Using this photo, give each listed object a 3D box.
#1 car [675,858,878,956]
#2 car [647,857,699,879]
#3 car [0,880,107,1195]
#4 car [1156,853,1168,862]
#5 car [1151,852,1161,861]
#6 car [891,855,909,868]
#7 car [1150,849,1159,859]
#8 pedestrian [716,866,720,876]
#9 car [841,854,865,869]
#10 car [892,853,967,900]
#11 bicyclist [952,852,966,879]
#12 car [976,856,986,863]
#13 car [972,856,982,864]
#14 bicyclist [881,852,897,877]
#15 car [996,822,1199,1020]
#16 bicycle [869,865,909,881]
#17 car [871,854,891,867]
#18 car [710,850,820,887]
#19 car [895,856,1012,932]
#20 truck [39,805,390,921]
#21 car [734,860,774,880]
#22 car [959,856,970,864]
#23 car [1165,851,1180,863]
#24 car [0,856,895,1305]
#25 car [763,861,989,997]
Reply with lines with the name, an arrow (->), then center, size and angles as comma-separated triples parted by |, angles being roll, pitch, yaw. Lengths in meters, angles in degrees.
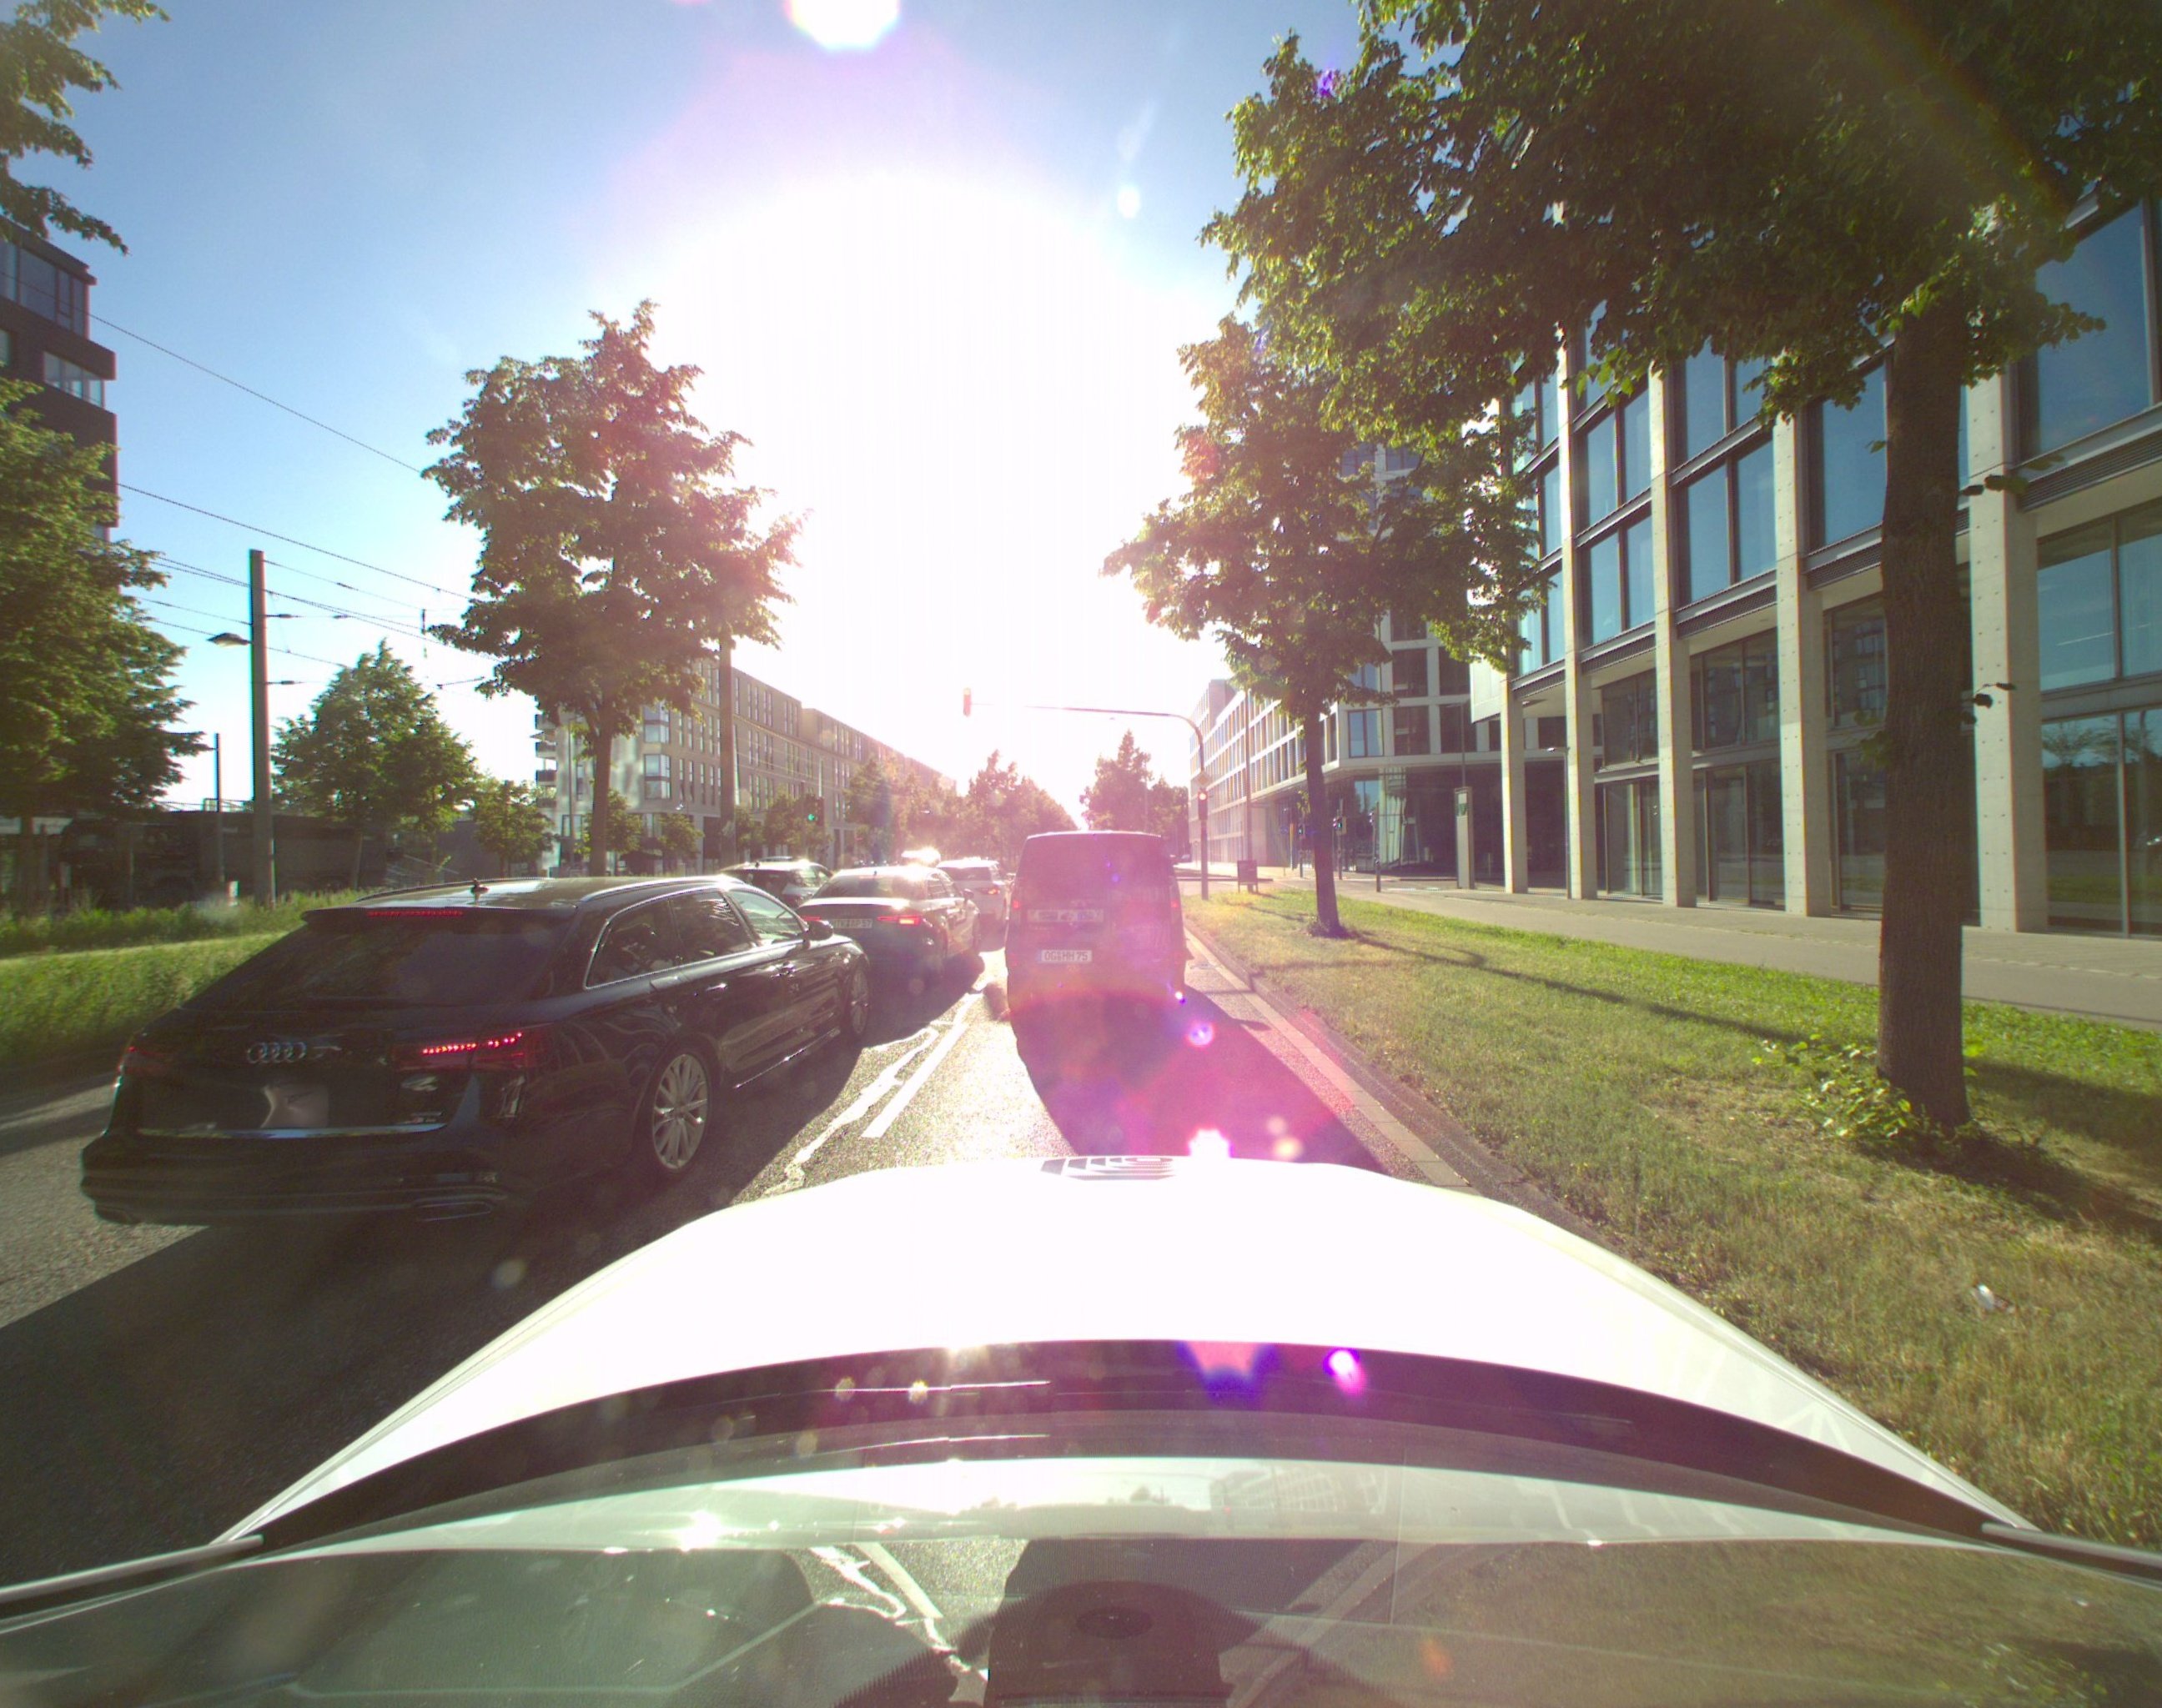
car -> -5.259, 0.832, 14.827 | 1.792, 1.447, 4.571 | -1, 0, 2
car -> -31.045, 1.038, 62.077 | 1.758, 1.520, 4.002 | -1, 0, 2
car -> -5.995, 0.882, 1.921 | 1.792, 1.447, 4.570 | -1, 0, 2
car -> 15.970, 0.623, 160.478 | 1.986, 1.782, 4.002 | -1, 0, 2
car -> 16.514, 0.534, 179.680 | 1.986, 1.782, 4.002 | -1, 0, 2
car -> -30.582, 1.268, 137.460 | 1.986, 2.013, 4.002 | -1, 0, 2
car -> 17.899, 0.014, 198.181 | 1.986, 2.497, 4.988 | -1, 0, 2
pedestrian -> -40.627, 1.890, 91.145 | 0.253, 1.085, 0.289 | -1, 0, 1
car -> -30.879, 0.984, 110.598 | 1.986, 2.013, 4.002 | -1, 0, 2
car -> -5.249, 0.720, 28.769 | 1.793, 1.447, 4.568 | 0, 1, 0
bicyclist -> -9.637, 0.930, 64.470 | 0.937, 2.092, 0.817 | -1, 0, -3
car -> -27.434, 1.556, 223.817 | 1.986, 2.013, 4.002 | -1, 0, 2
car -> -27.891, 1.519, 218.200 | 1.986, 2.013, 4.002 | -1, 0, 2
bicyclist -> -15.318, 0.842, 65.009 | 0.995, 1.947, 0.818 | -1, 0, 0
car -> 0.212, 0.611, 9.467 | 1.835, 1.780, 4.002 | -1, 0, 2
bicycle -> -15.289, 1.487, 64.990 | 2.932, 1.190, 0.818 | -1, 0, 0
car -> -30.752, 0.981, 125.144 | 1.986, 2.013, 4.002 | -1, 0, 2
car -> -14.536, 0.649, 37.490 | 4.518, 1.483, 1.813 | 2, 0, 17
car -> -2.631, 0.786, 17.740 | 1.797, 1.426, 3.902 | -1, 0, 2
truck -> -33.632, 0.292, 32.650 | 2.880, 3.853, 10.218 | -1, 0, 2
car -> -31.797, 1.533, 79.249 | 1.986, 1.814, 4.372 | -1, 0, 2
car -> -28.603, 1.412, 200.187 | 1.986, 2.013, 4.002 | -1, 0, 2
car -> 14.328, 0.423, 127.841 | 1.986, 1.782, 4.002 | -1, 0, 2
car -> -2.758, 0.788, 5.294 | 1.868, 1.484, 4.967 | -1, 0, 1
car -> -2.496, 0.839, 11.092 | 1.835, 1.426, 4.340 | -1, 0, 2
